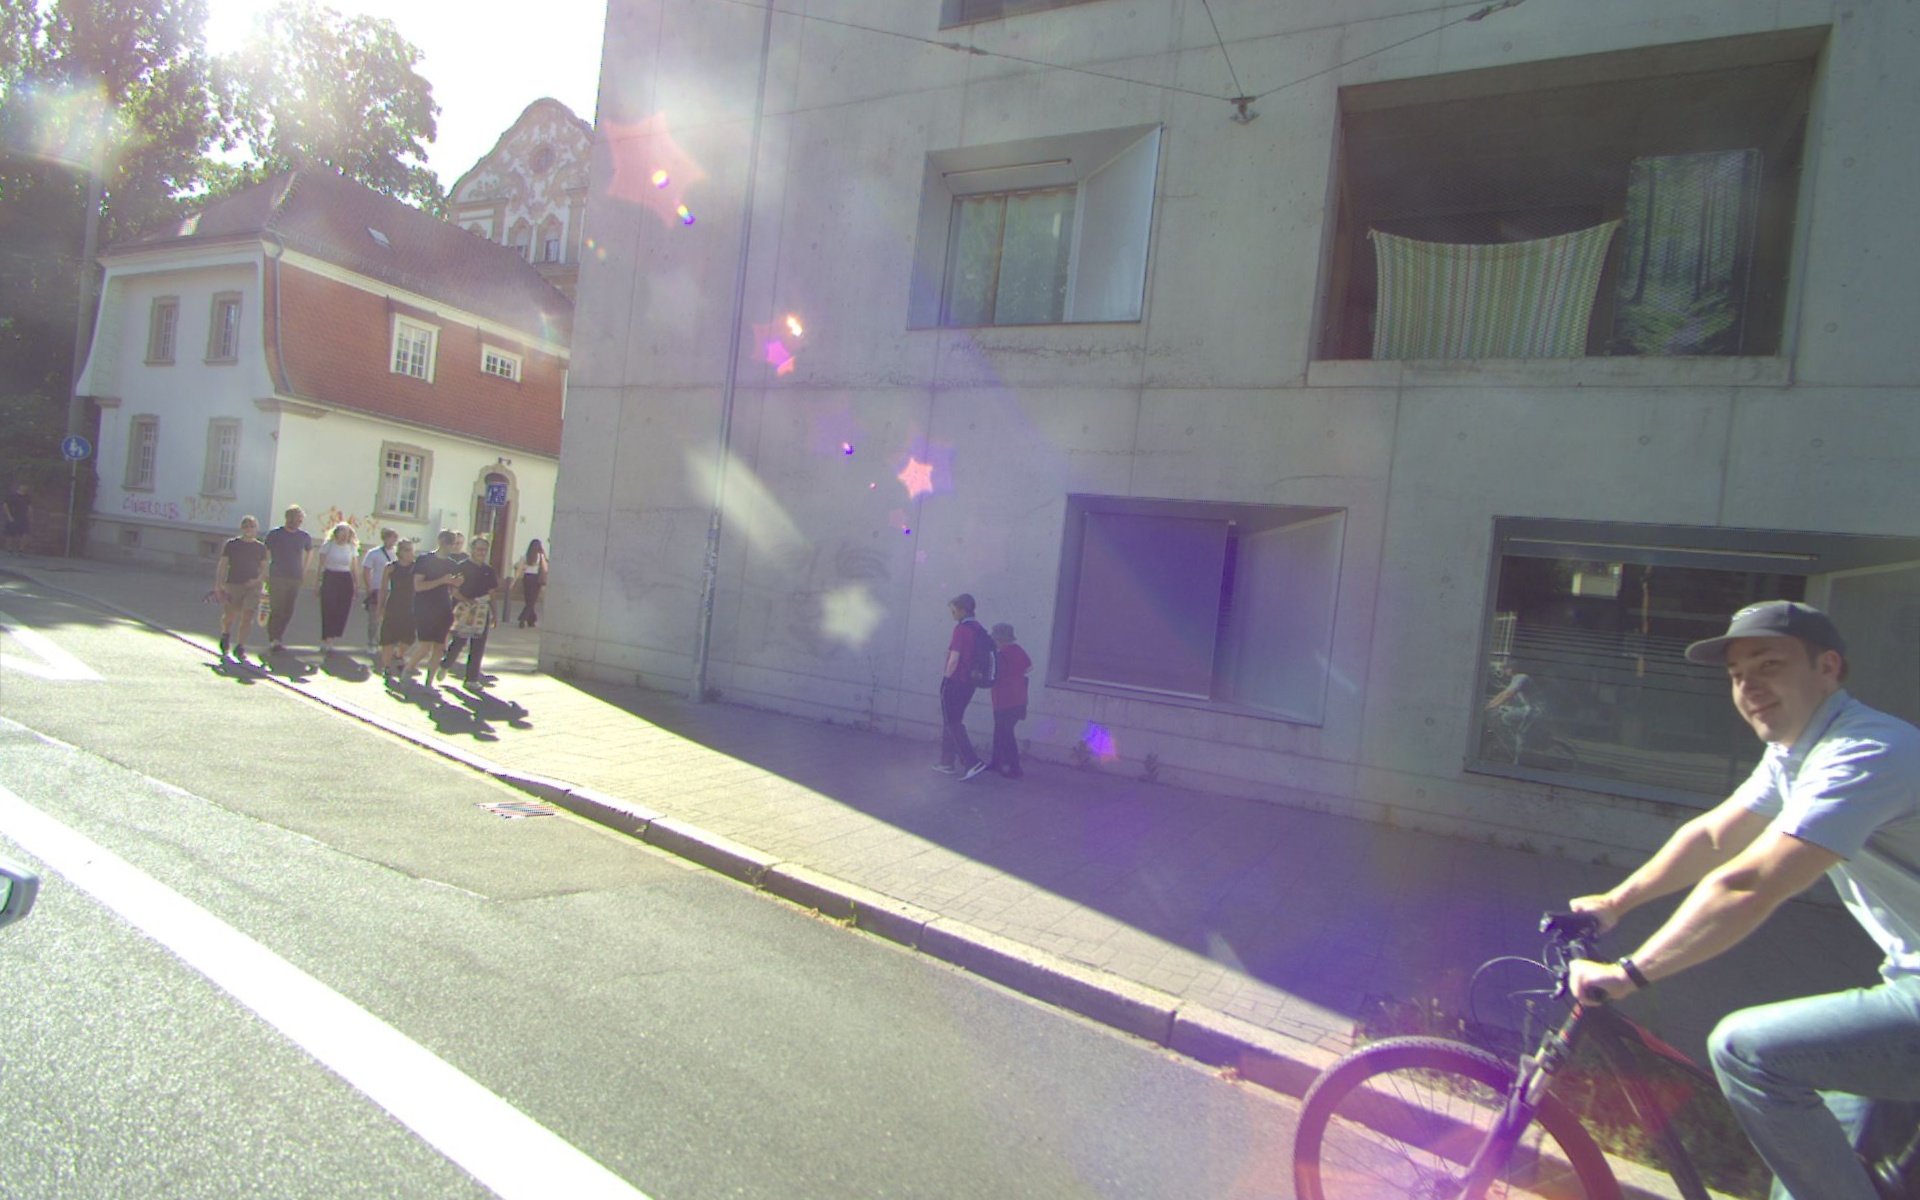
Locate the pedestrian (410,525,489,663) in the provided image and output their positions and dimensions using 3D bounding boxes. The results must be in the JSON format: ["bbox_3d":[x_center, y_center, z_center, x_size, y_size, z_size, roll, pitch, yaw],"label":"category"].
[{"bbox_3d":[-7.104,-0.086,14.002,0.720,1.827,0.656,7,4,35],"label":"pedestrian"}]

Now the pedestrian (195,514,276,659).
[{"bbox_3d":[-9.240,-0.176,12.838,0.706,1.771,0.605,7,4,35],"label":"pedestrian"}]

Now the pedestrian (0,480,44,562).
[{"bbox_3d":[-23.500,-1.981,25.059,1.115,1.929,0.638,7,3,29],"label":"pedestrian"}]

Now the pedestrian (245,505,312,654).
[{"bbox_3d":[-9.145,-0.275,13.496,0.602,1.929,0.518,7,4,35],"label":"pedestrian"}]

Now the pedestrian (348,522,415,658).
[{"bbox_3d":[-7.944,-0.142,13.806,0.644,1.800,0.607,8,6,43],"label":"pedestrian"}]

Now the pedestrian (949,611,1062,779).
[{"bbox_3d":[0.423,0.860,9.294,0.752,1.422,0.518,6,1,30],"label":"pedestrian"}]

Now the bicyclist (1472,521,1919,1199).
[{"bbox_3d":[1.652,0.772,2.040,0.955,1.706,0.740,6,-1,29],"label":"bicyclist"}]

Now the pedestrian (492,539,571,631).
[{"bbox_3d":[-8.255,-0.278,19.422,0.844,1.661,0.993,5,0,18],"label":"pedestrian"}]

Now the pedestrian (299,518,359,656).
[{"bbox_3d":[-8.520,-0.184,13.596,0.522,1.800,0.731,2,5,-22],"label":"pedestrian"}]

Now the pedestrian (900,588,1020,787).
[{"bbox_3d":[0.001,0.754,8.890,0.752,1.621,0.518,6,1,30],"label":"pedestrian"}]

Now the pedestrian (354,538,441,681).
[{"bbox_3d":[-6.822,0.100,12.178,0.822,1.628,0.885,1,5,-34],"label":"pedestrian"}]

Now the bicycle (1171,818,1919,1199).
[{"bbox_3d":[1.568,1.240,2.051,2.075,1.107,0.740,6,-1,29],"label":"bicycle"}]

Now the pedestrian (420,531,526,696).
[{"bbox_3d":[-5.657,0.136,11.686,0.940,1.788,0.647,6,5,30],"label":"pedestrian"}]

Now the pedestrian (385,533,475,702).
[{"bbox_3d":[-5.820,0.174,11.045,0.802,1.753,0.494,6,5,30],"label":"pedestrian"}]
